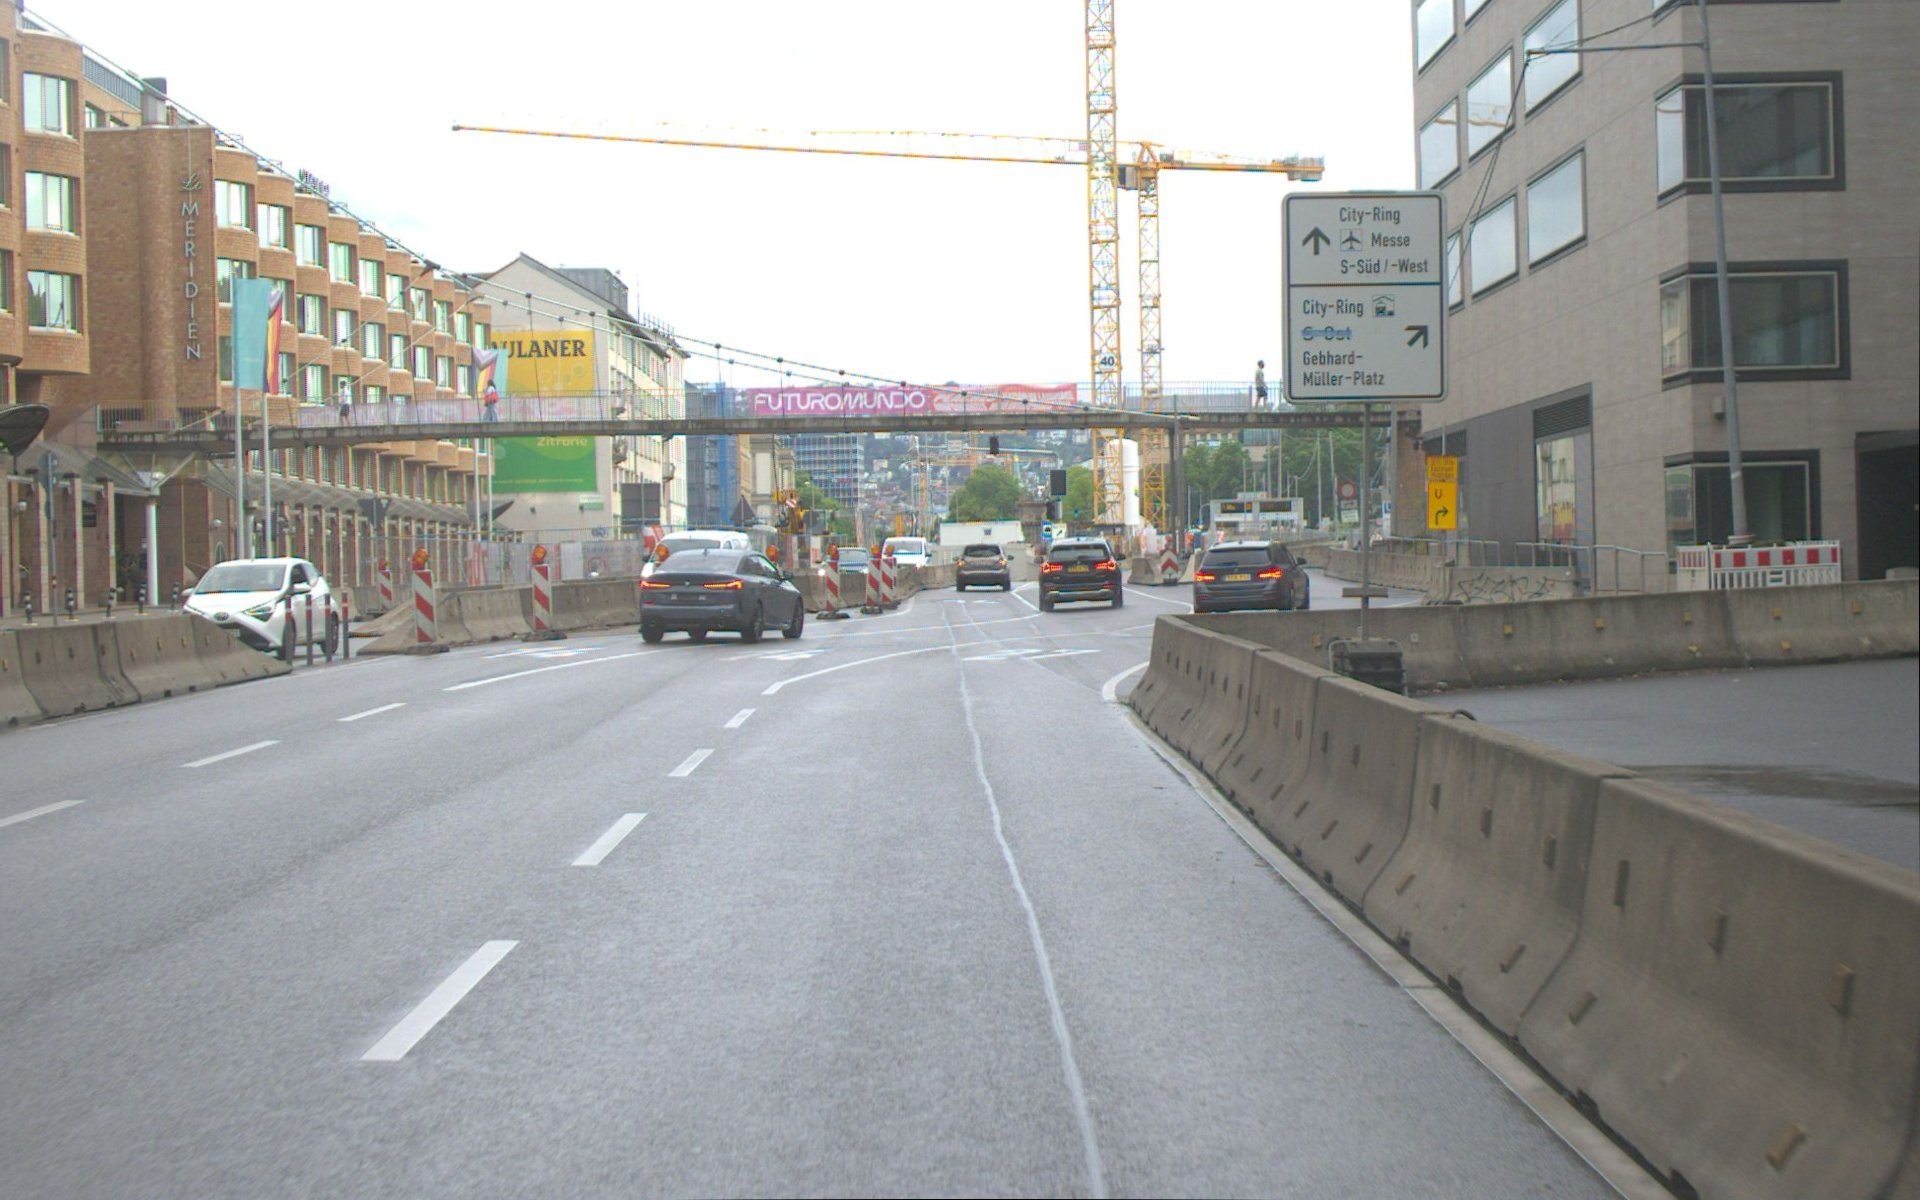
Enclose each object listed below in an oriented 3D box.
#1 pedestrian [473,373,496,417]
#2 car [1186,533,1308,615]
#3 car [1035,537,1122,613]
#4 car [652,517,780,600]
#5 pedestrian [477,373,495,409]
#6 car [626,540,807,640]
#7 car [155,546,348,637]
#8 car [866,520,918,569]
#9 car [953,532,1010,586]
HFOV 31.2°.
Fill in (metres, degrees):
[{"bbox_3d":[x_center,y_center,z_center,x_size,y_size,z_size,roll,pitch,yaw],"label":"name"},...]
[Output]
[{"bbox_3d":[-16.215,-6.977,117.232,0.620,1.447,0.618,-2,1,4],"label":"pedestrian"},{"bbox_3d":[5.372,-0.504,63.909,1.863,1.428,4.655,-1,1,9],"label":"car"},{"bbox_3d":[2.693,-0.610,79.144,1.863,1.655,4.656,-1,1,1],"label":"car"},{"bbox_3d":[-5.484,-0.962,77.943,1.886,1.777,4.875,-1,1,8],"label":"car"},{"bbox_3d":[-16.167,-7.138,117.245,0.475,1.190,0.484,-2,1,4],"label":"pedestrian"},{"bbox_3d":[-3.719,-0.193,53.387,1.863,1.438,4.655,-1,1,8],"label":"car"},{"bbox_3d":[-10.309,-0.147,50.240,1.613,1.227,3.726,-1,1,8],"label":"car"},{"bbox_3d":[-2.757,-2.241,138.251,1.993,1.878,4.870,-1,1,-2],"label":"car"},{"bbox_3d":[0.716,-1.422,116.986,1.863,1.759,4.656,-1,1,-1],"label":"car"}]
